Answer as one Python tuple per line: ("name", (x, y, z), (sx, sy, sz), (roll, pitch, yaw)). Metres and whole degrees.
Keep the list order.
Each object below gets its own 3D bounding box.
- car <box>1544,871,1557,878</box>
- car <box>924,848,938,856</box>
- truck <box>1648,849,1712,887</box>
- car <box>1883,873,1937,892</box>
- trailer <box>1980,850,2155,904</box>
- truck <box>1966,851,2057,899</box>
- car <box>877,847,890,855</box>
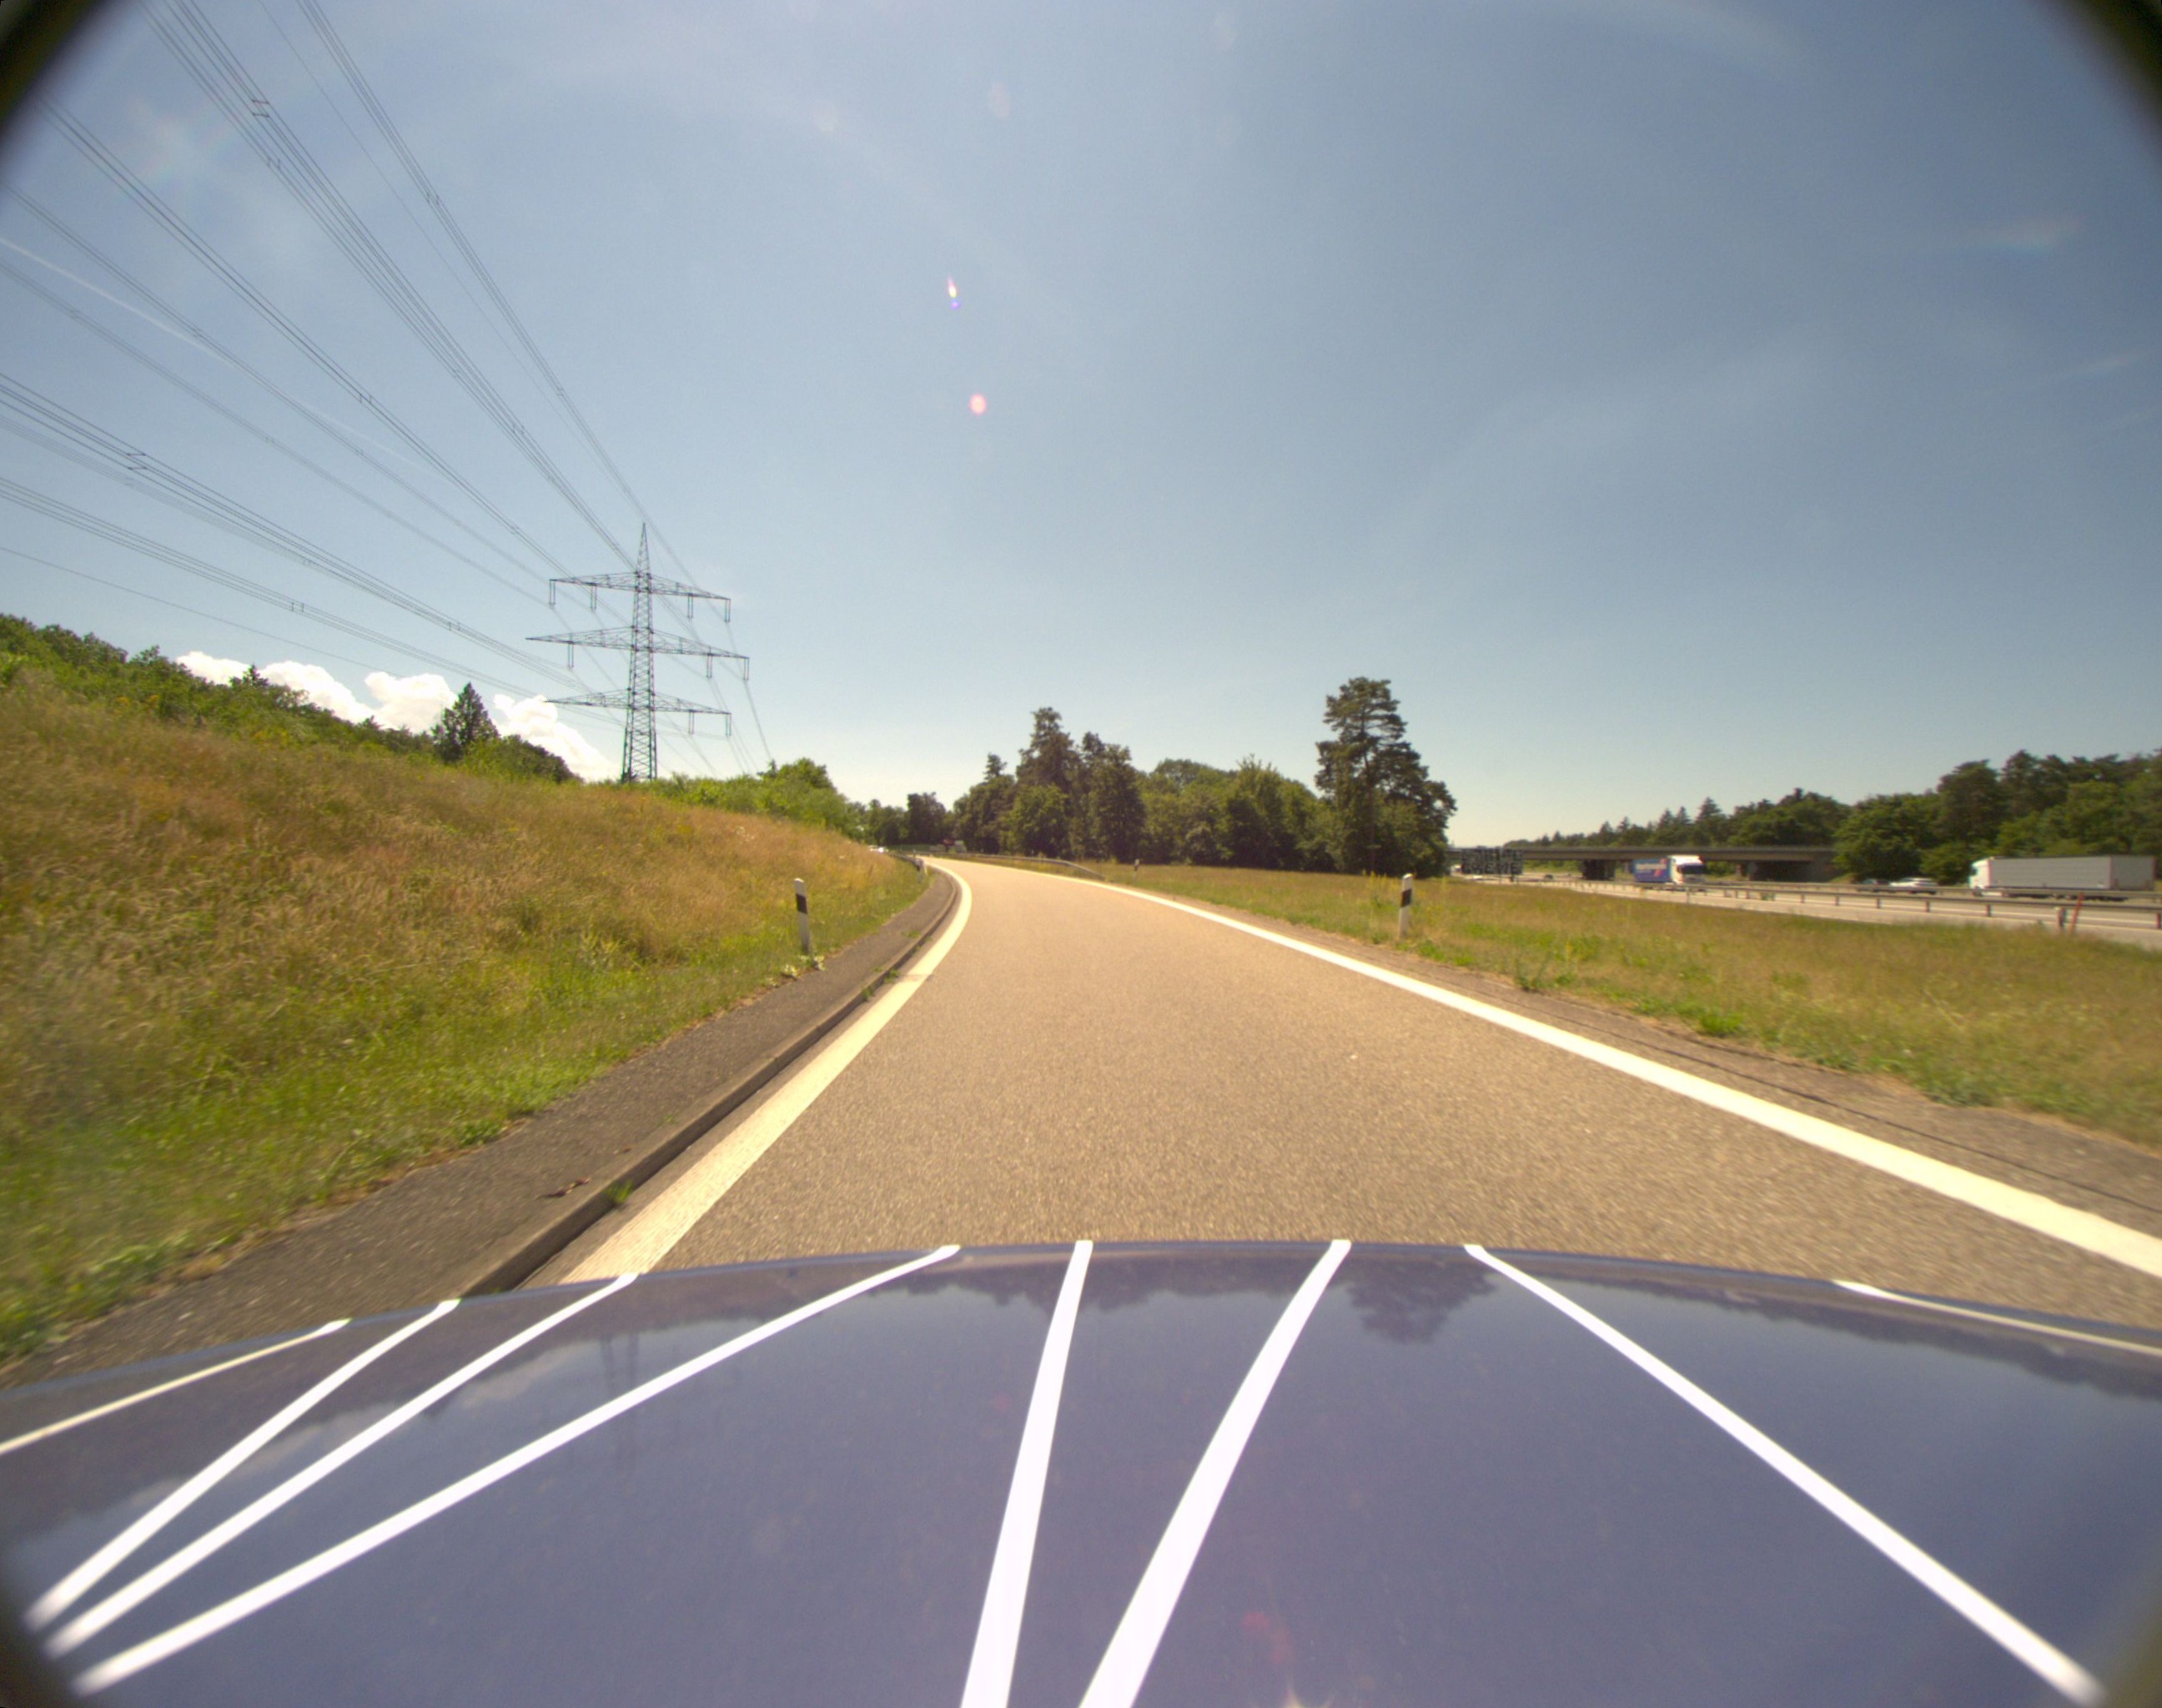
("car", (111.116, 4.866, 179.747), (1.995, 1.706, 4.007), (-1, -1, 23))
("car", (-30.677, -0.436, 155.398), (2.002, 1.631, 5.261), (3, 0, -19))
("truck", (68.796, 1.630, 87.565), (2.705, 4.034, 11.067), (0, -1, 22))
("car", (83.008, 2.872, 76.138), (1.995, 1.837, 4.367), (0, -2, 23))
("trailer", (89.019, 1.934, 69.176), (2.926, 4.362, 14.322), (2, 0, 23))
("truck", (91.453, 2.002, 74.842), (2.941, 4.367, 6.282), (2, 1, 23))
("car", (-38.506, -0.585, 148.113), (2.002, 1.674, 3.993), (-1, 0, -20))
